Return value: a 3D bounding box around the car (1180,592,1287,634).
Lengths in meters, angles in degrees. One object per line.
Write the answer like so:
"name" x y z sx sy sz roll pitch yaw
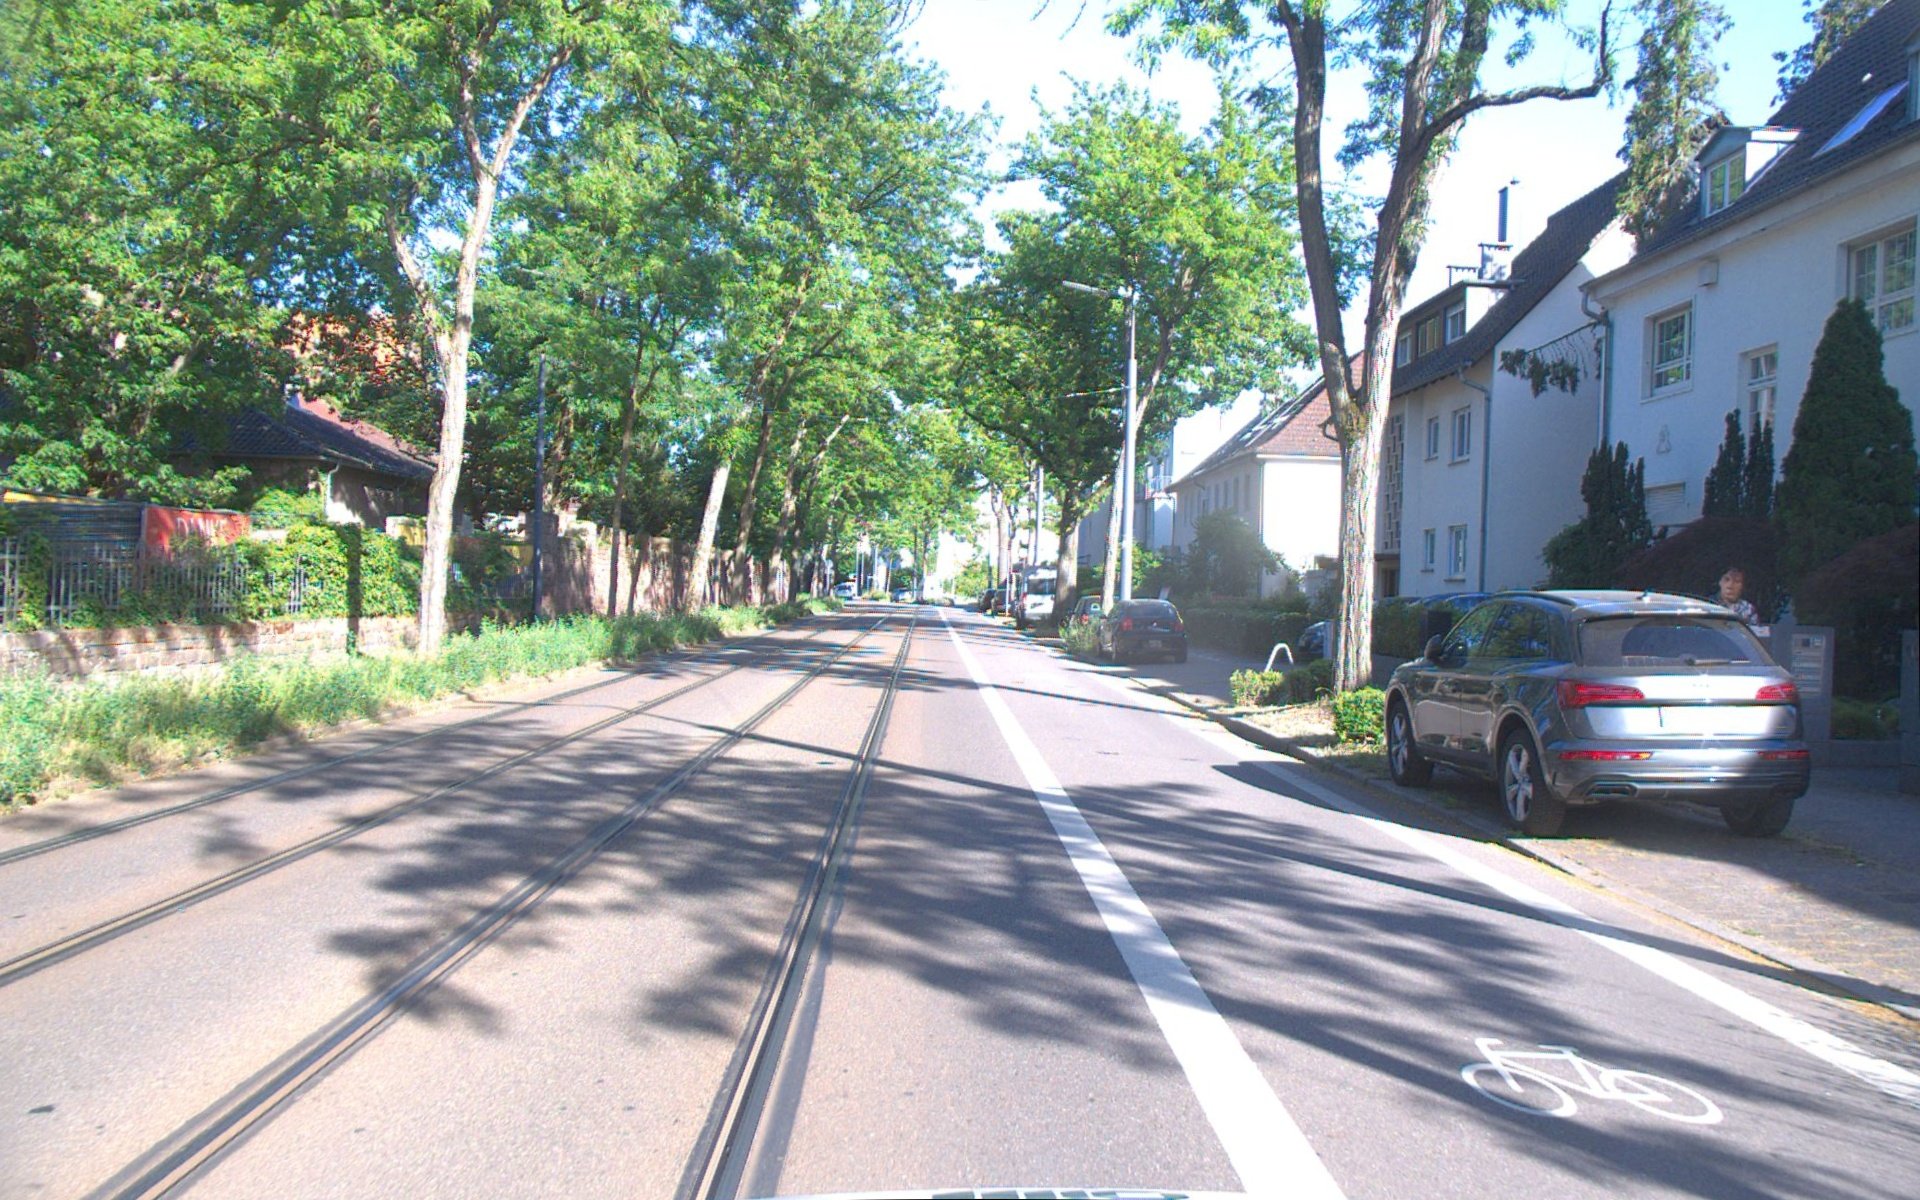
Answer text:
"car" 9.692 0.433 58.720 3.340 1.461 1.728 0 0 -14

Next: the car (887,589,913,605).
"car" -6.312 -0.312 173.346 1.968 1.588 4.377 1 0 -13

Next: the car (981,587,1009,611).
"car" 2.557 -0.074 119.849 1.961 1.704 4.394 0 0 3

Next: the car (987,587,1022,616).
"car" 2.739 0.068 102.351 1.962 1.704 4.391 0 0 -1

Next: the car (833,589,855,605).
"car" -12.610 -0.372 179.580 1.833 1.704 4.161 1 0 -12

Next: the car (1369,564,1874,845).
"car" 4.761 0.640 12.742 1.953 1.734 4.475 -1 0 -2

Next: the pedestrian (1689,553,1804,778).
"pedestrian" 6.889 0.556 14.506 0.613 1.903 0.732 -1 0 -2

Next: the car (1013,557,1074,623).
"car" 3.497 -0.435 70.358 2.200 2.700 5.584 0 0 -1

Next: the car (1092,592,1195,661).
"car" 4.286 0.592 39.190 1.748 1.473 4.299 -1 1 -3

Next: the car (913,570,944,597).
"car" -2.990 -1.551 155.808 1.960 2.501 4.492 1 0 -14

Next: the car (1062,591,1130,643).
"car" 3.982 0.475 48.760 1.594 1.422 3.644 -1 1 -2

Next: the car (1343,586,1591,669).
"car" 9.948 0.520 32.670 4.330 1.515 1.859 -1 0 1

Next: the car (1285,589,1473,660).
"car" 9.225 0.528 36.557 3.667 1.515 1.737 0 0 -7
